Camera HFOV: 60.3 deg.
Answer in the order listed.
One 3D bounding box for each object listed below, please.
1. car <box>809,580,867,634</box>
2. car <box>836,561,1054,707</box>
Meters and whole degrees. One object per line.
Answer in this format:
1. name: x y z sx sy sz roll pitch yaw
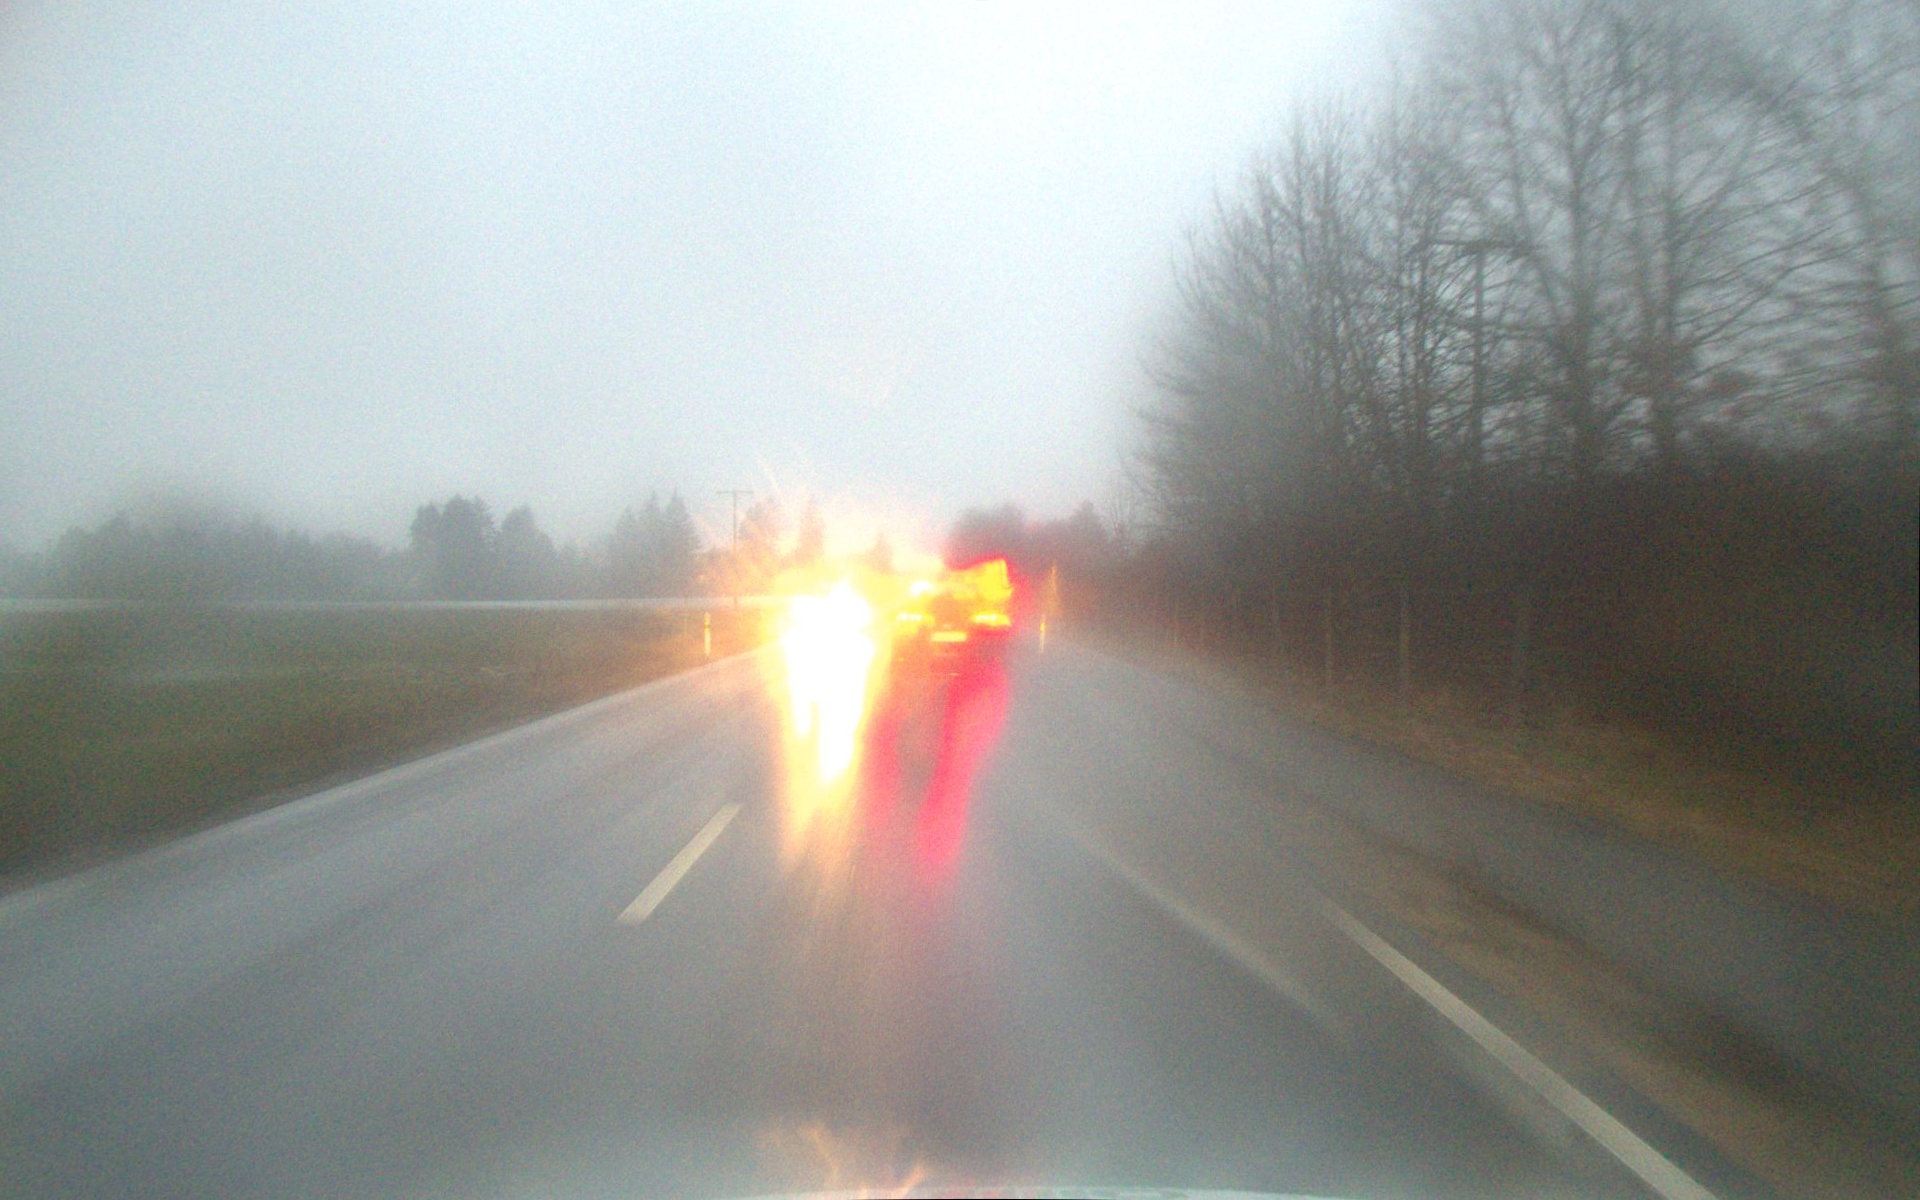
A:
1. car: -4.222 0.234 57.573 1.802 1.751 3.955 1 0 -2
2. car: -0.230 0.450 27.065 3.100 2.071 6.851 0 1 -1
